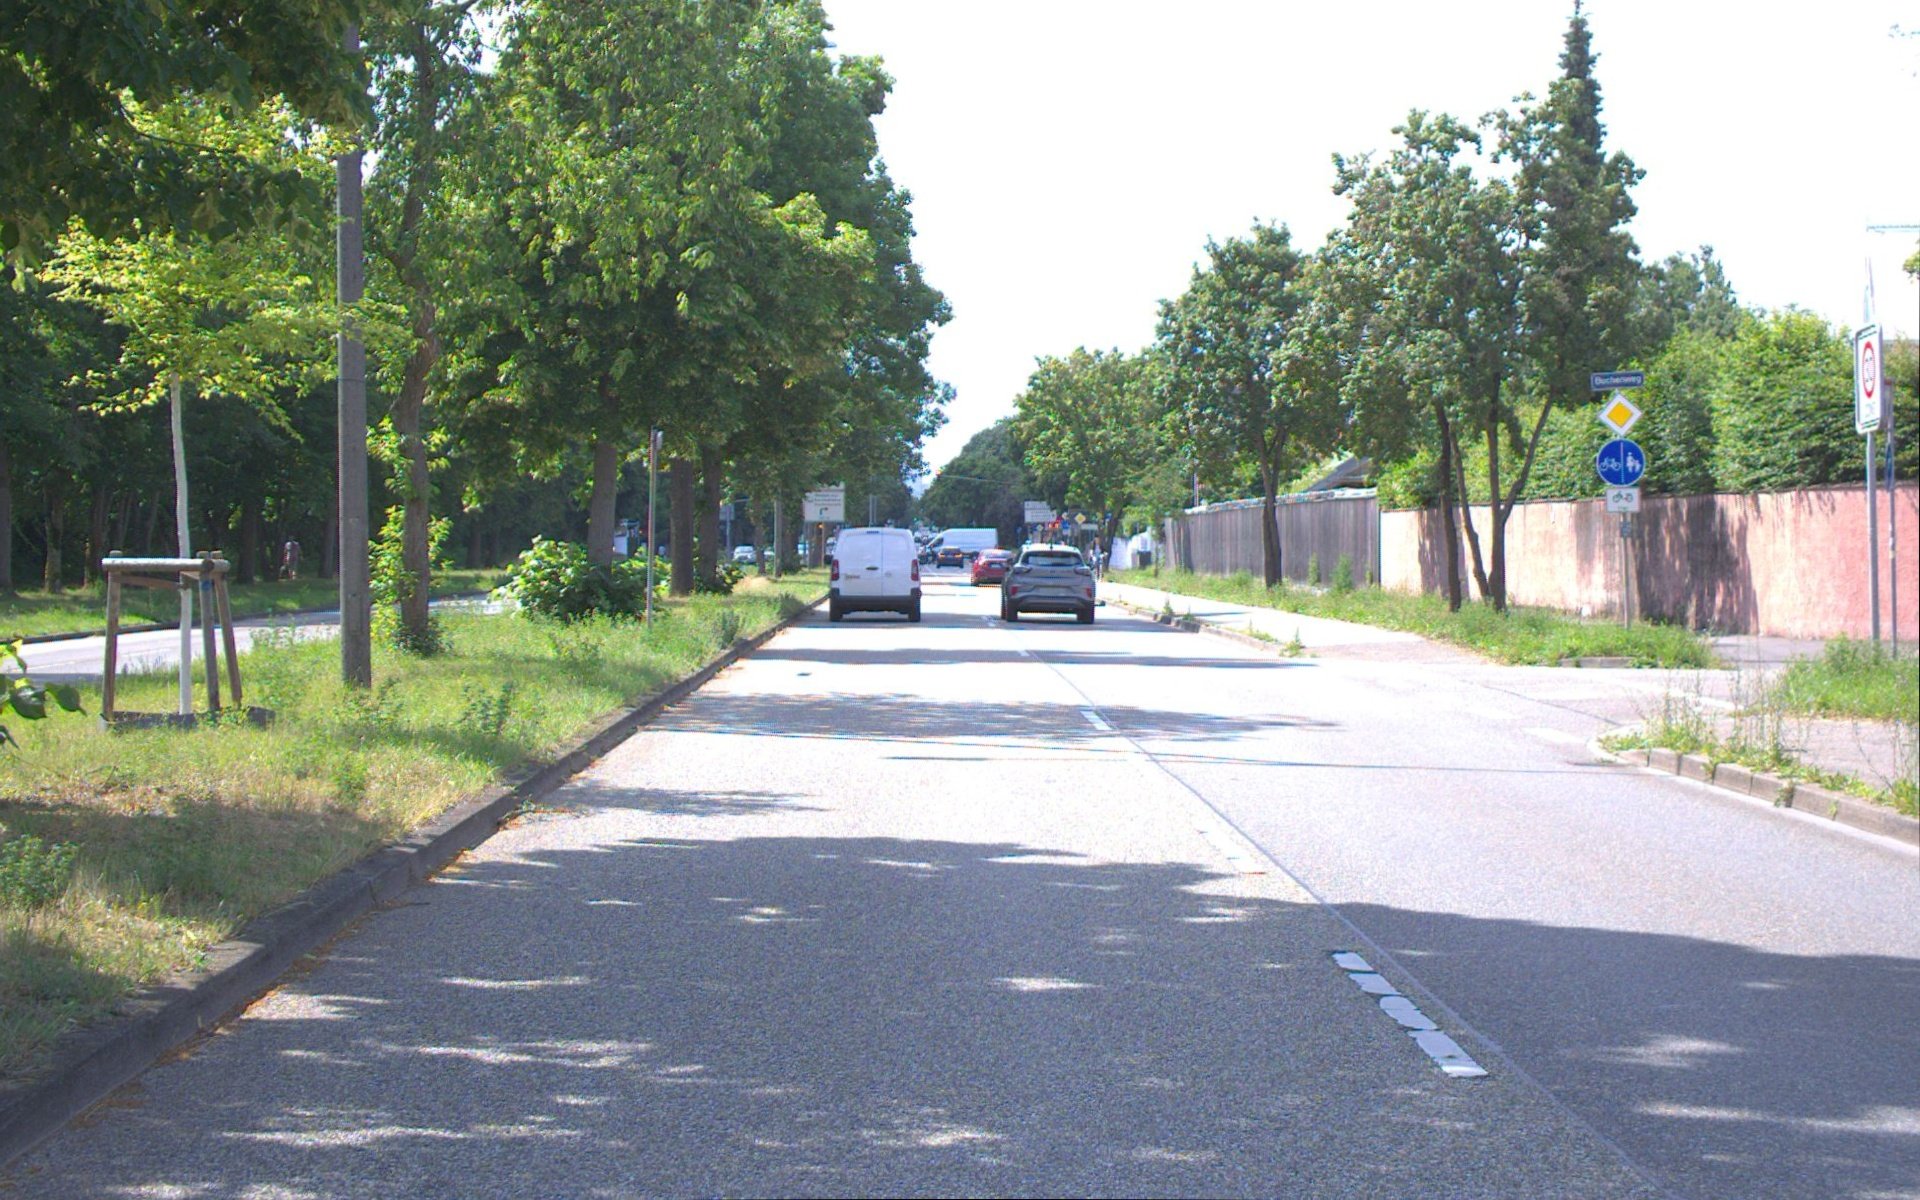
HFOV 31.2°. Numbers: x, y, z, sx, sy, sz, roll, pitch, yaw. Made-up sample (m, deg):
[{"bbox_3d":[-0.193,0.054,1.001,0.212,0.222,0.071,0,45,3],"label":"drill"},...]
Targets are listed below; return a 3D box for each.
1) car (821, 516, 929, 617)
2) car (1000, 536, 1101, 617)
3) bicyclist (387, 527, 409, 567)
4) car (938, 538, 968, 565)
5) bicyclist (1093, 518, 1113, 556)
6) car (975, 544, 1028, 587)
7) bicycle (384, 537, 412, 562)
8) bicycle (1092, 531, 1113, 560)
[{"bbox_3d":[-1.651,-0.684,67.913,2.066,1.905,4.647,0,1,-1],"label":"car"},{"bbox_3d":[1.788,-0.493,69.240,1.875,1.583,4.185,0,1,0],"label":"car"},{"bbox_3d":[-20.351,-1.921,124.502,0.618,1.443,0.729,0,1,2],"label":"bicyclist"},{"bbox_3d":[-0.469,-3.366,237.112,1.993,1.766,4.147,1,1,-1],"label":"car"},{"bbox_3d":[5.347,-2.359,128.977,0.654,1.407,0.986,-2,1,0],"label":"bicyclist"},{"bbox_3d":[1.562,-1.321,130.924,1.880,1.581,4.000,0,1,-1],"label":"car"},{"bbox_3d":[-20.352,-1.837,124.516,0.618,0.875,1.915,0,1,2],"label":"bicycle"},{"bbox_3d":[5.355,-2.038,128.955,0.646,1.064,2.278,-2,1,0],"label":"bicycle"}]
